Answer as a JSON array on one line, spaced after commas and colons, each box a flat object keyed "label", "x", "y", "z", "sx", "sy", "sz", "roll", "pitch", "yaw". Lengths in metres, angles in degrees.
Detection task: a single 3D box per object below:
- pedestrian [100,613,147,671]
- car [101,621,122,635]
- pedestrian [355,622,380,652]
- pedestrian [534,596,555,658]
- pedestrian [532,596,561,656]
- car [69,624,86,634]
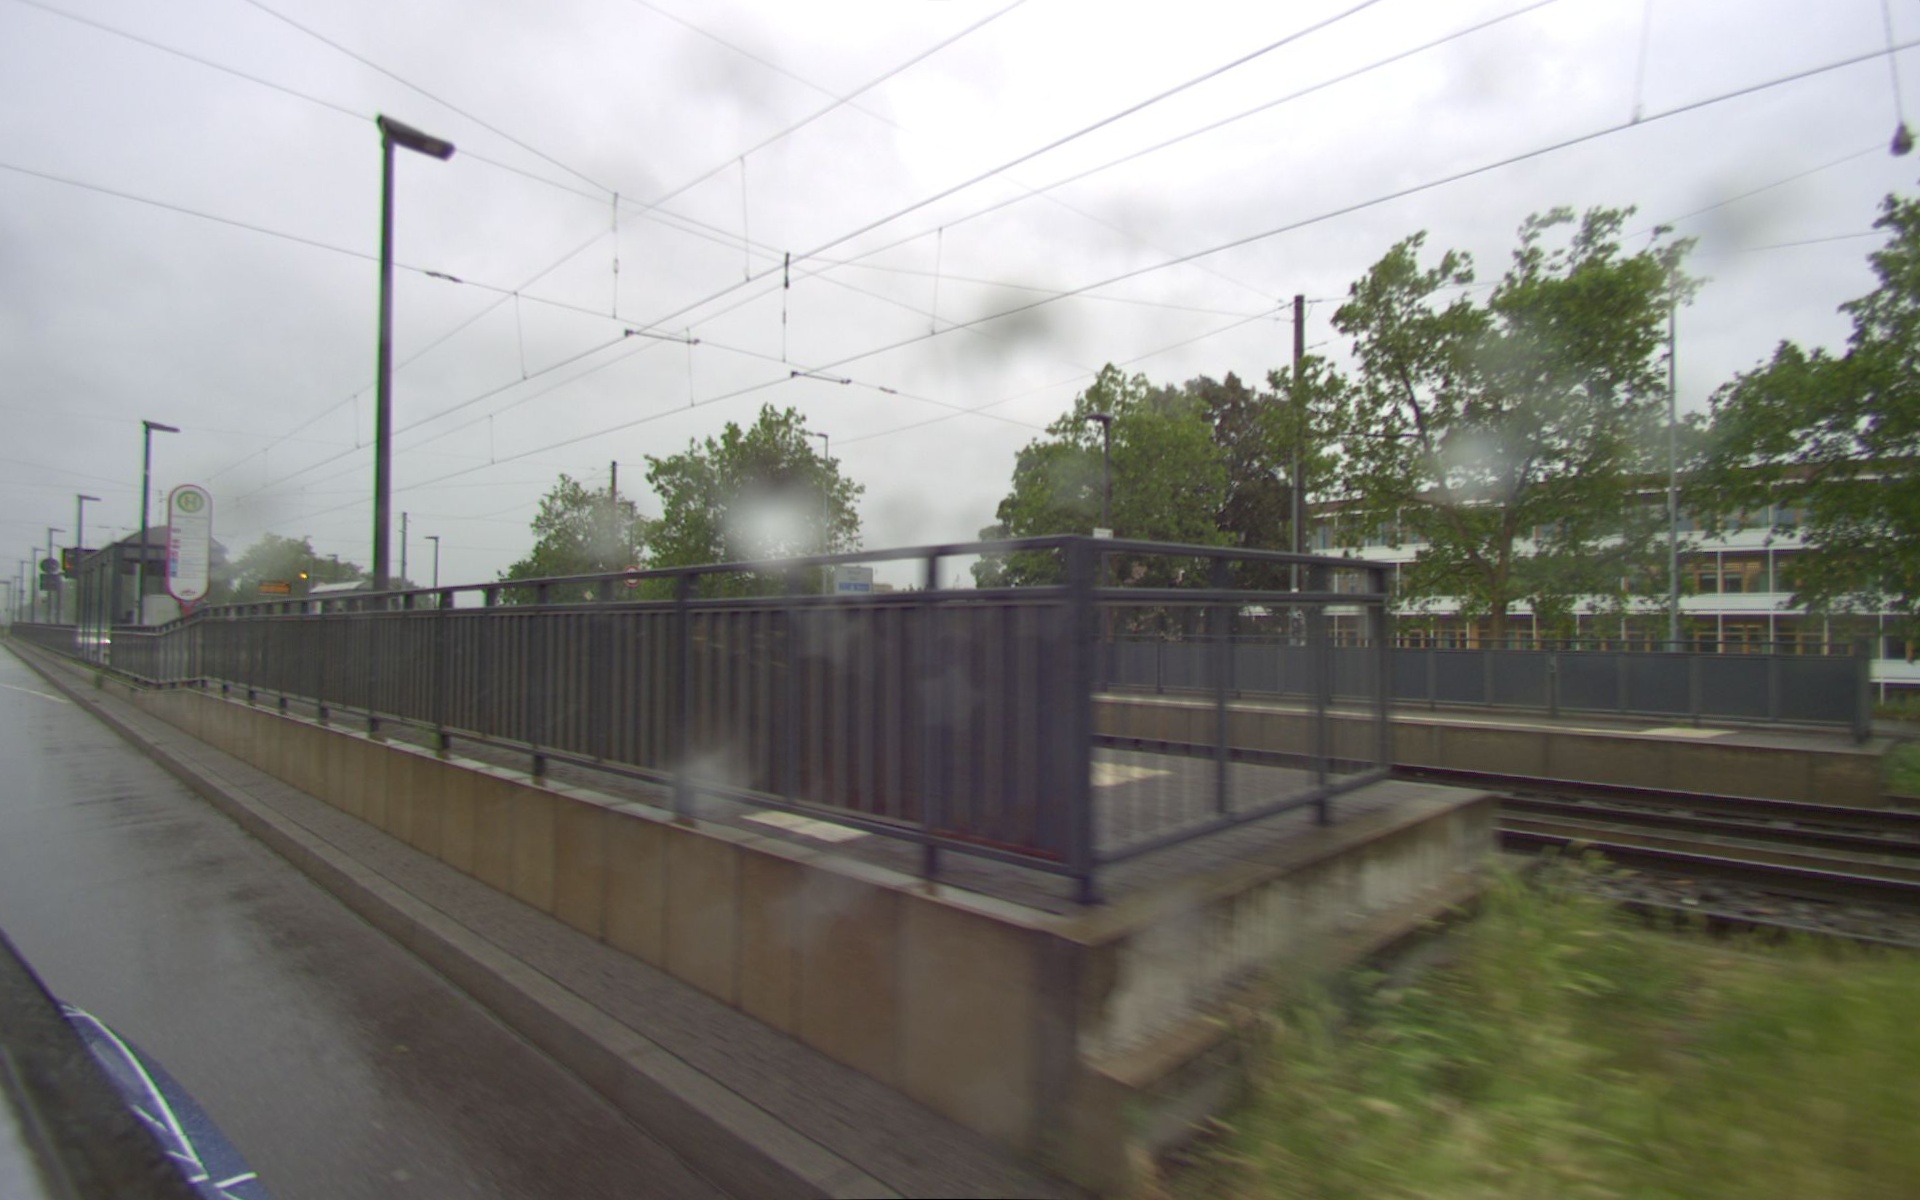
[{"label": "pedestrian", "x": -19.887, "y": 0.979, "z": 24.058, "sx": 0.660, "sy": 1.350, "sz": 0.804, "roll": -2, "pitch": -2, "yaw": 45}, {"label": "car", "x": -125.770, "y": 4.143, "z": 149.992, "sx": 1.971, "sy": 2.029, "sz": 4.756, "roll": 1, "pitch": -2, "yaw": -45}, {"label": "pedestrian", "x": -27.484, "y": 1.715, "z": 46.930, "sx": 0.821, "sy": 1.326, "sz": 0.858, "roll": 0, "pitch": -1, "yaw": -45}, {"label": "pedestrian", "x": -27.353, "y": 1.759, "z": 66.656, "sx": 1.152, "sy": 4.059, "sz": 1.524, "roll": 1, "pitch": -1, "yaw": -17}, {"label": "pedestrian", "x": -28.417, "y": 1.806, "z": 69.492, "sx": 1.516, "sy": 4.059, "sz": 1.159, "roll": -1, "pitch": -1, "yaw": 34}, {"label": "car", "x": -153.114, "y": 5.072, "z": 175.627, "sx": 1.970, "sy": 1.785, "sz": 4.261, "roll": 1, "pitch": -2, "yaw": -44}]
